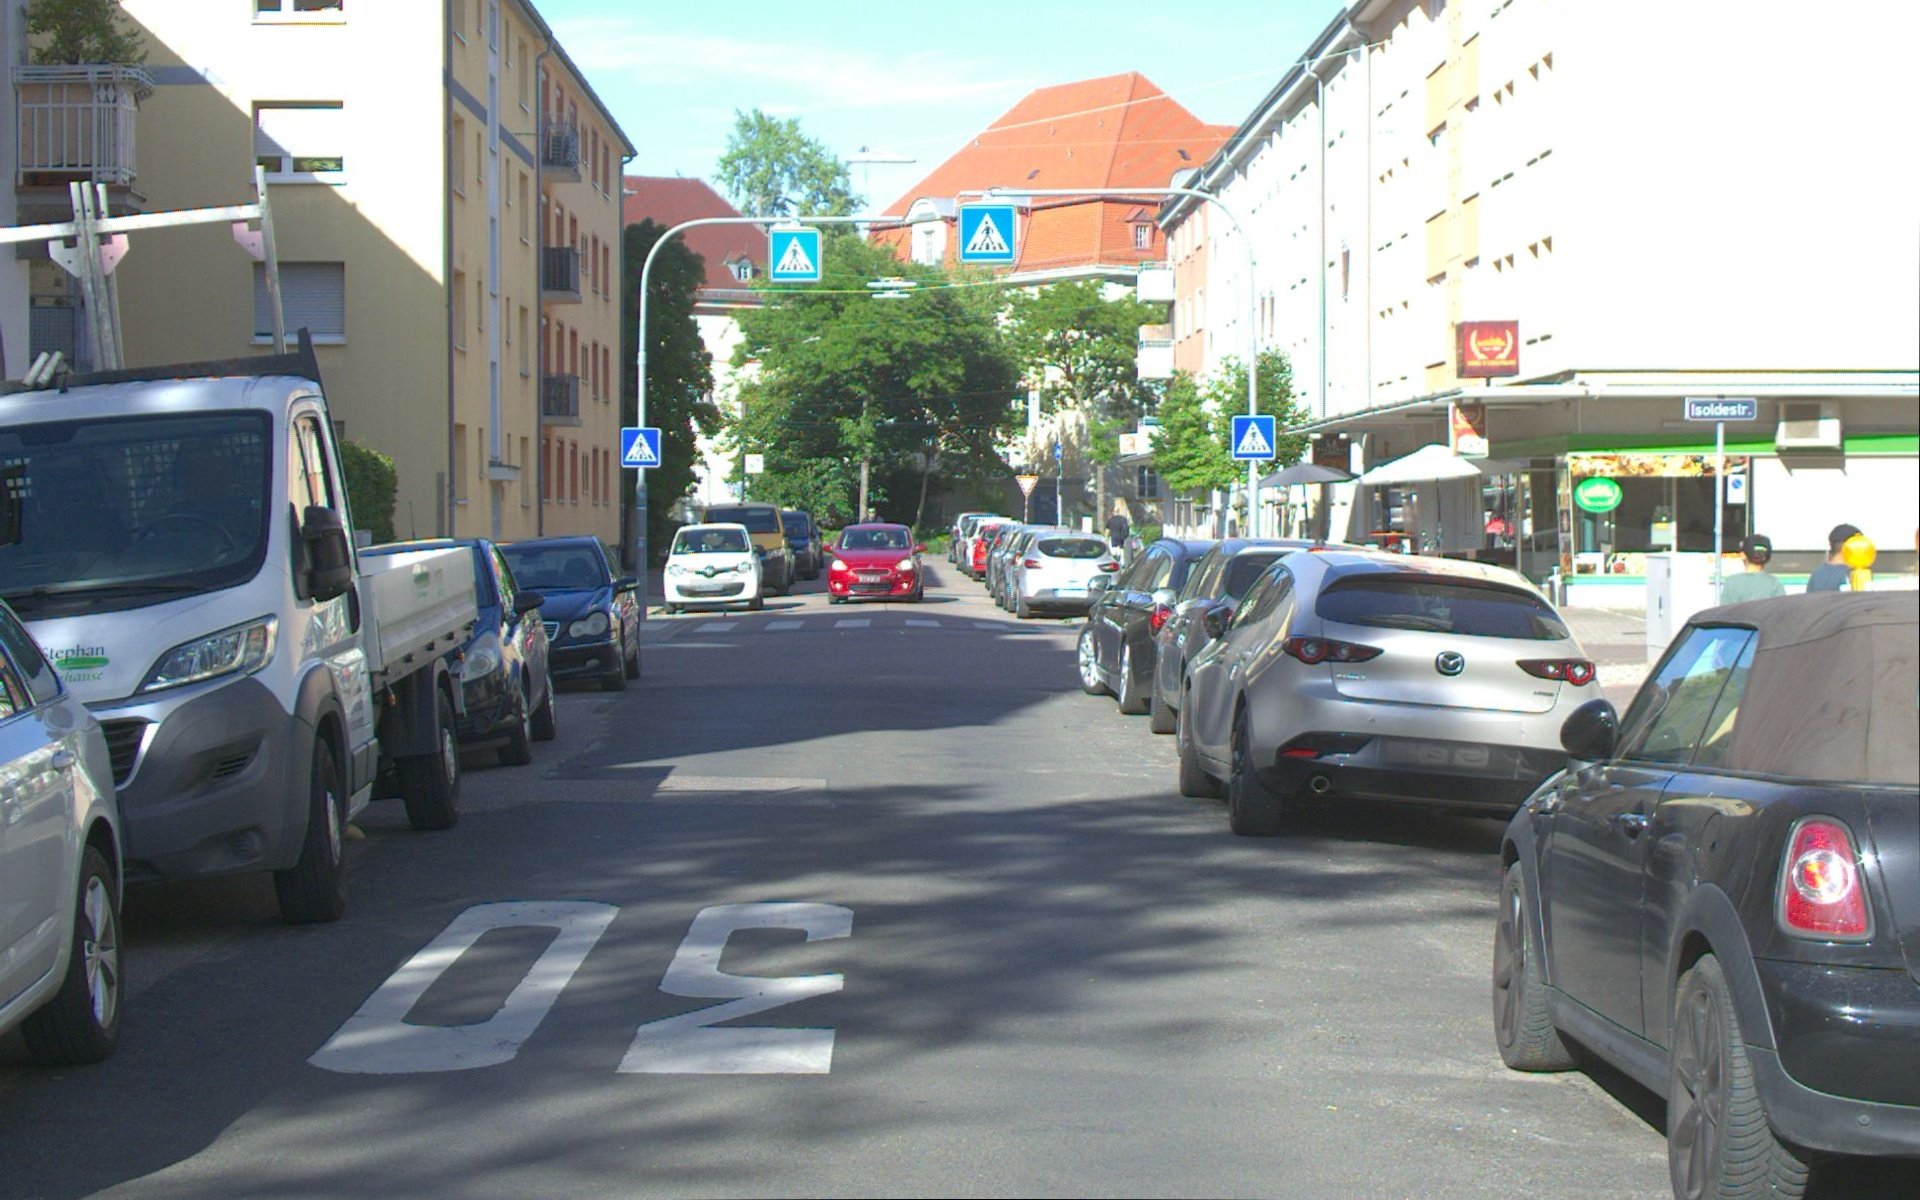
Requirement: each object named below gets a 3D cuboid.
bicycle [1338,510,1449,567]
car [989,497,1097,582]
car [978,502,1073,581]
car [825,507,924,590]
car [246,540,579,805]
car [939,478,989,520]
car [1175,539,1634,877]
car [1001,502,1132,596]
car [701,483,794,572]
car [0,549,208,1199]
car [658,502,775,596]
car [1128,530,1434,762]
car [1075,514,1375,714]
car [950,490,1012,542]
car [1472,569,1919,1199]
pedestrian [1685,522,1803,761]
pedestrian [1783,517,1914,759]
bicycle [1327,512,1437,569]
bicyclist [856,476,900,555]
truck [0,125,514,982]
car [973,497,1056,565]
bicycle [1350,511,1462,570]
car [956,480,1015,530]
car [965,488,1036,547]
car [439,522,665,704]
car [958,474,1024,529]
[{"bbox_3d":[7.635,-1.088,60.569,1.806,0.964,0.674,-2,2,-11],"label":"bicycle"},{"bbox_3d":[1.458,-1.107,61.803,1.690,1.435,3.419,-1,2,-2],"label":"car"},{"bbox_3d":[1.271,-1.170,67.665,1.637,1.435,3.419,-1,2,-2],"label":"car"},{"bbox_3d":[-1.611,-0.975,63.735,1.697,1.435,3.419,-1,2,-3],"label":"car"},{"bbox_3d":[-3.521,0.401,22.735,1.645,1.411,4.082,-6,2,-3],"label":"car"},{"bbox_3d":[0.138,-3.624,122.876,1.637,1.435,3.419,-1,2,-2],"label":"car"},{"bbox_3d":[2.221,0.470,18.309,1.792,1.466,4.339,2,2,0],"label":"car"},{"bbox_3d":[1.728,-0.865,56.865,1.845,1.435,3.419,-1,2,-3],"label":"car"},{"bbox_3d":[-4.446,-1.559,72.379,1.697,1.772,4.099,-1,2,-1],"label":"car"},{"bbox_3d":[-3.171,0.820,8.223,1.792,1.535,4.642,-7,3,-3],"label":"car"},{"bbox_3d":[-4.305,-0.935,61.298,1.791,1.475,4.099,-2,3,-1],"label":"car"},{"bbox_3d":[2.153,0.257,23.979,1.645,1.455,3.940,-1,1,-2],"label":"car"},{"bbox_3d":[2.121,0.051,28.800,1.853,1.518,4.778,-1,1,-4],"label":"car"},{"bbox_3d":[0.580,-2.429,99.100,1.637,1.435,3.419,-1,2,-2],"label":"car"},{"bbox_3d":[2.442,0.724,8.652,1.688,1.462,3.583,2,2,0],"label":"car"},{"bbox_3d":[4.820,0.248,21.129,0.507,1.428,0.450,-1,3,41],"label":"pedestrian"},{"bbox_3d":[5.427,0.220,21.010,0.470,1.428,0.577,-4,3,-25],"label":"pedestrian"},{"bbox_3d":[7.508,-1.060,61.198,1.806,0.964,0.674,-2,2,-11],"label":"bicycle"},{"bbox_3d":[-1.737,-1.807,73.152,0.786,1.615,0.956,-3,2,4],"label":"bicyclist"},{"bbox_3d":[-3.534,-0.246,15.674,2.259,2.976,7.277,-2,2,-2],"label":"truck"},{"bbox_3d":[1.190,-1.563,76.732,1.637,1.435,3.419,-1,2,-2],"label":"car"},{"bbox_3d":[7.772,-1.039,59.943,1.806,0.964,0.674,-2,2,-11],"label":"bicycle"},{"bbox_3d":[0.753,-2.870,103.686,1.637,1.435,3.419,-1,2,-2],"label":"car"},{"bbox_3d":[1.017,-2.142,88.316,1.637,1.435,3.419,-1,2,-2],"label":"car"},{"bbox_3d":[-3.720,0.062,31.965,1.703,1.411,4.375,-6,2,-3],"label":"car"},{"bbox_3d":[0.842,-2.719,94.811,1.637,1.435,3.419,-1,2,-2],"label":"car"}]
